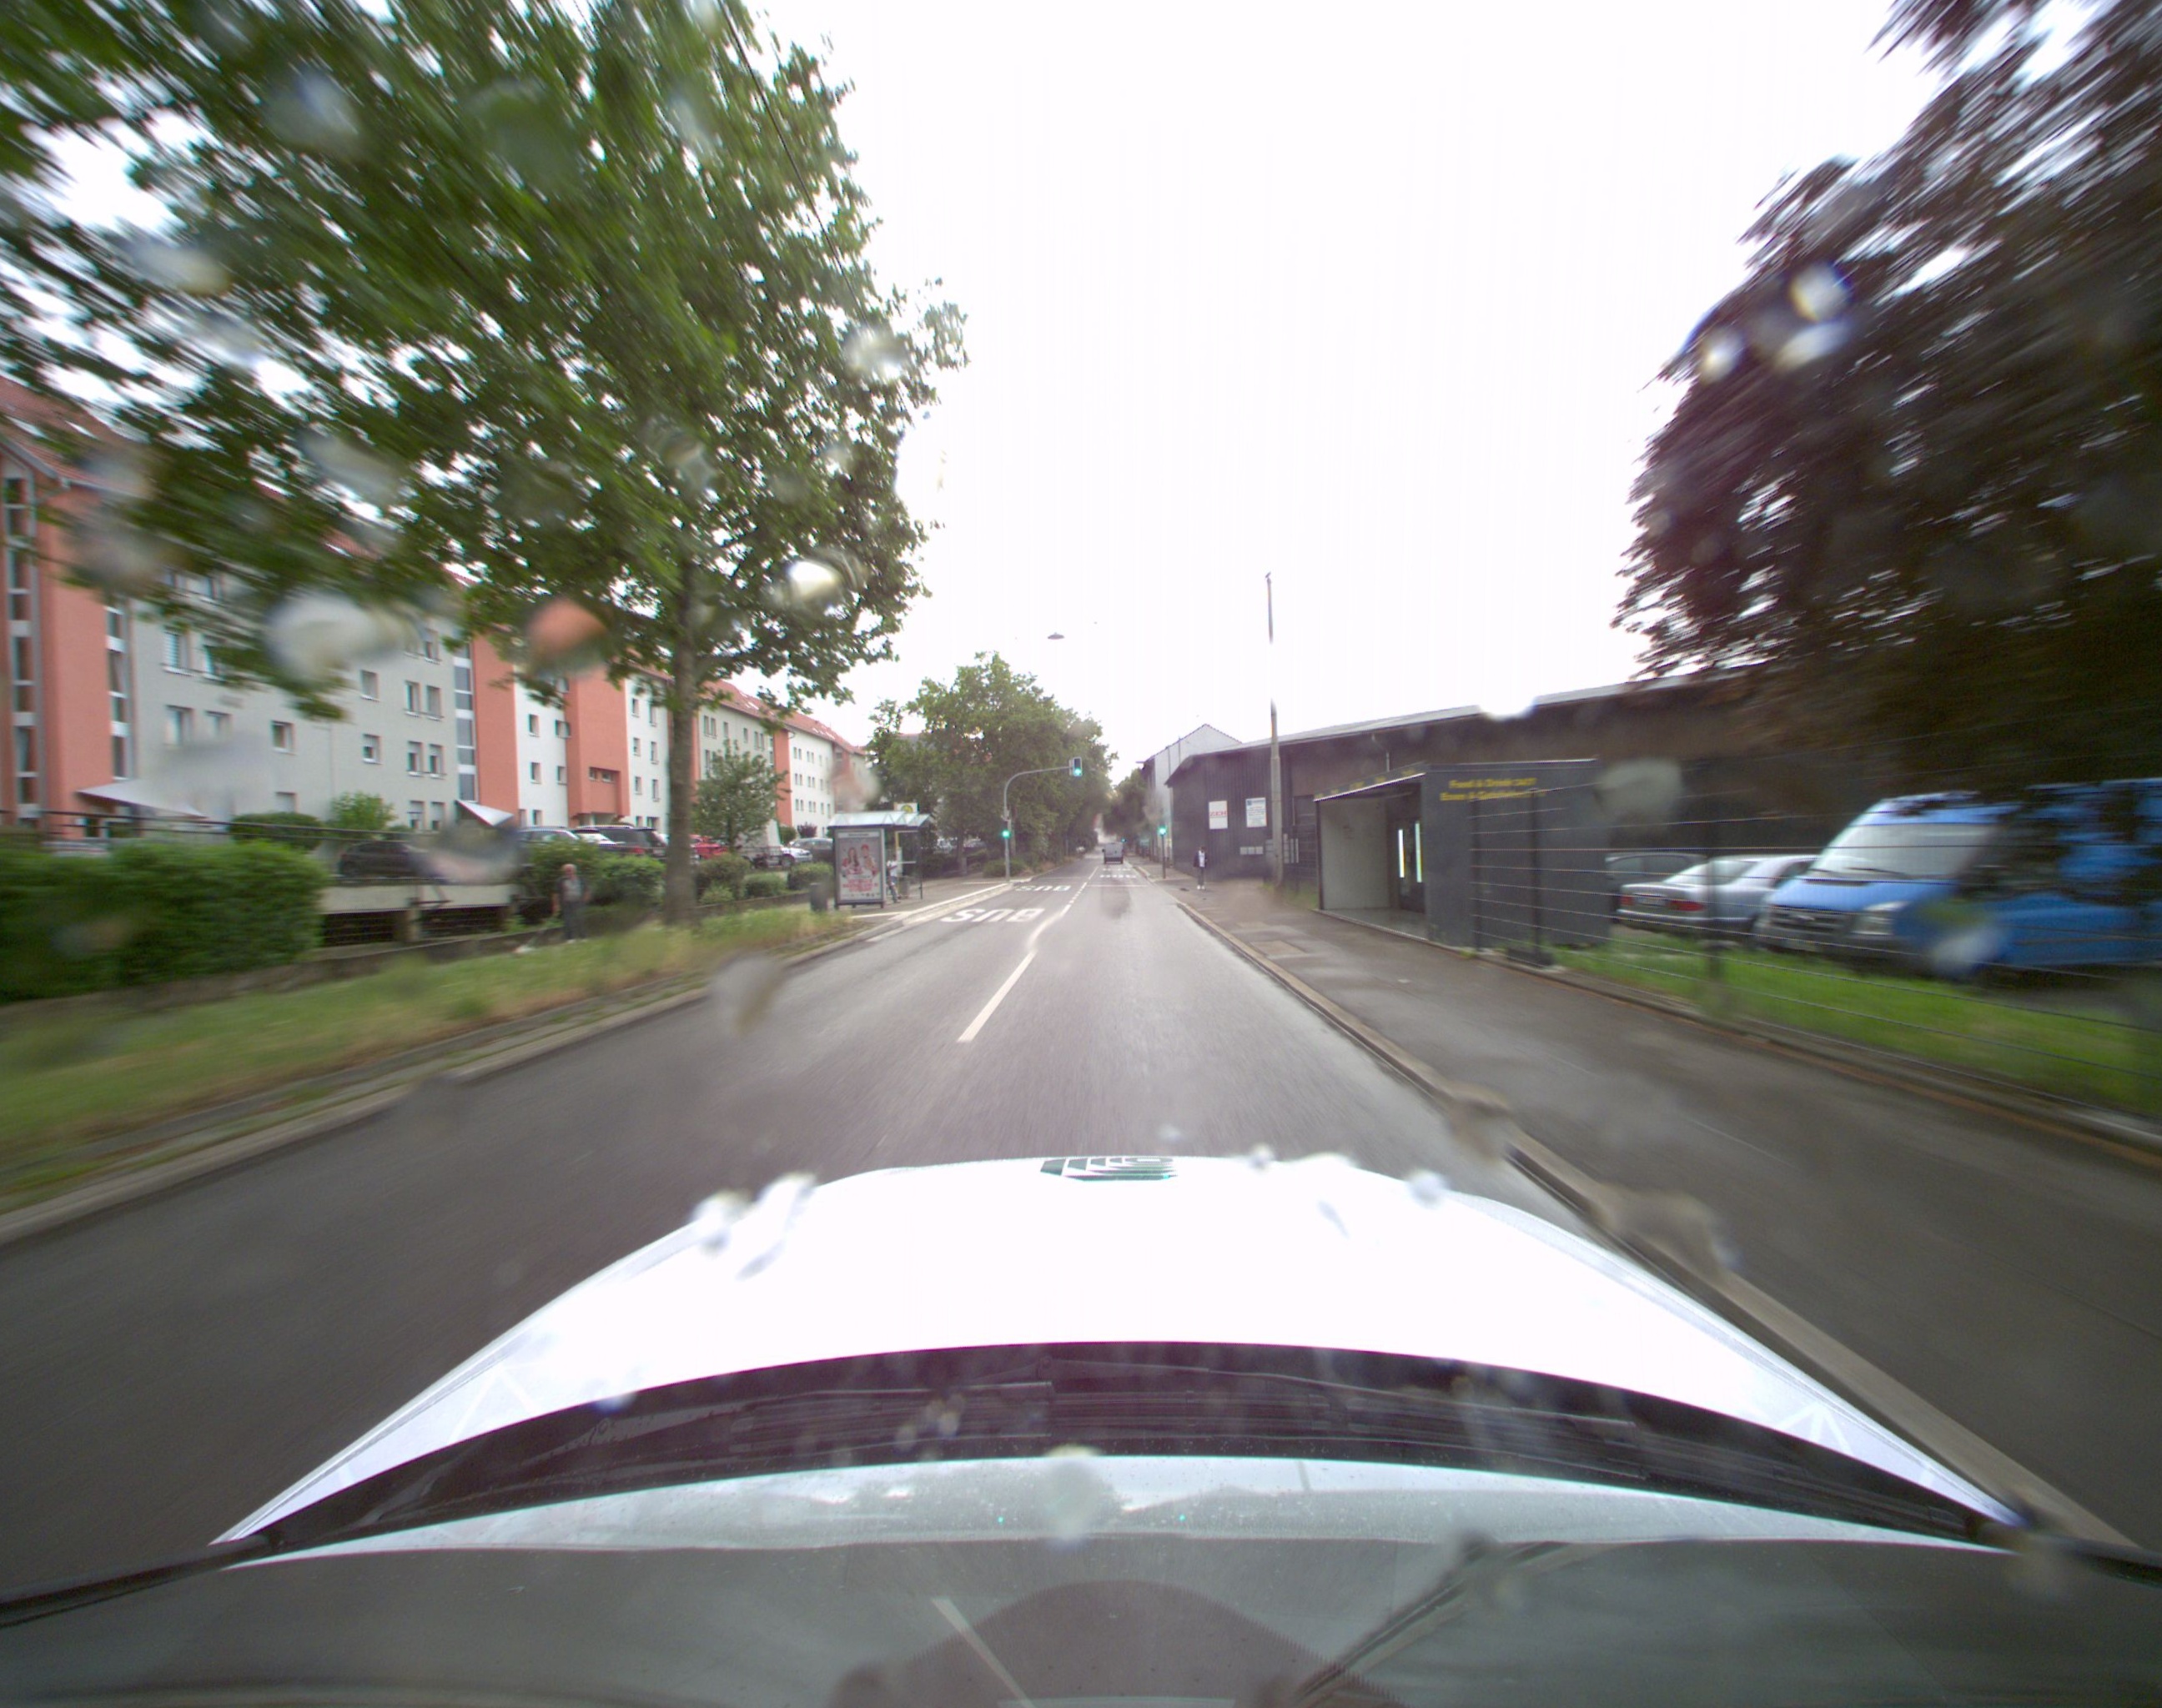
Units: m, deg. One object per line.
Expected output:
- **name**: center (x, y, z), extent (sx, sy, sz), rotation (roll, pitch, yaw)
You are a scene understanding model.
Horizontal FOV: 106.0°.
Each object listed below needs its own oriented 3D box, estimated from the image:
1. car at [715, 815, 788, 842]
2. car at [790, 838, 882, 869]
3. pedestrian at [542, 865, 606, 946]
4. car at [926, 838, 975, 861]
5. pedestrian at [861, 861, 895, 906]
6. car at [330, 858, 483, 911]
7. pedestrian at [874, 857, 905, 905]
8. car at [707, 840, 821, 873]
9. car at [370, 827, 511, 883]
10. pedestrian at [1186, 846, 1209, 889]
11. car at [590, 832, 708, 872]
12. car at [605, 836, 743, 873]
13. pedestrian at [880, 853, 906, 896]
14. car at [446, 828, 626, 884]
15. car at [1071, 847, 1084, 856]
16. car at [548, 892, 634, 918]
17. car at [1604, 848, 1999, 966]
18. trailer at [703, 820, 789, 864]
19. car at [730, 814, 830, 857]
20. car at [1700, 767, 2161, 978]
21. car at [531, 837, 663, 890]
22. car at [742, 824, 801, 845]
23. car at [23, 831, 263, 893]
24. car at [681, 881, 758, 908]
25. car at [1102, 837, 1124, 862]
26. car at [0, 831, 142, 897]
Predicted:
- **car**: center (-20.393, -1.572, 50.501), extent (3.797, 1.602, 1.718), rotation (0, -1, 0)
- **car**: center (-13.731, -0.029, 45.782), extent (4.529, 1.672, 2.000), rotation (0, -1, 1)
- **pedestrian**: center (-10.357, 1.029, 16.664), extent (0.753, 1.611, 0.834), rotation (0, -2, -3)
- **car**: center (-11.893, -0.419, 74.158), extent (4.155, 2.013, 1.718), rotation (-1, 0, -1)
- **pedestrian**: center (-6.154, 0.886, 24.735), extent (0.771, 1.317, 0.641), rotation (-4, -2, 5)
- **car**: center (-24.212, 1.065, 29.317), extent (3.873, 1.750, 2.002), rotation (-1, 0, 4)
- **pedestrian**: center (-5.987, 0.843, 25.474), extent (0.684, 1.418, 0.641), rotation (-4, -2, 5)
- **car**: center (-14.068, 0.114, 36.290), extent (4.339, 1.424, 1.860), rotation (0, -1, 1)
- **car**: center (-24.893, 0.040, 31.749), extent (3.969, 2.013, 2.002), rotation (-1, 0, 4)
- **pedestrian**: center (4.615, 0.539, 32.235), extent (0.741, 1.704, 0.900), rotation (0, -1, -4)
- **car**: center (-14.350, -0.046, 27.151), extent (3.118, 1.270, 1.437), rotation (0, -1, 1)
- **car**: center (-14.704, 0.036, 29.578), extent (4.073, 1.303, 1.810), rotation (0, -1, 1)
- **pedestrian**: center (-7.408, 0.813, 32.144), extent (0.737, 1.598, 0.607), rotation (-5, -2, 5)
- **car**: center (-14.938, 0.070, 22.491), extent (3.643, 1.498, 1.896), rotation (0, -1, -2)
- **car**: center (-0.622, -0.524, 154.155), extent (2.205, 1.592, 4.614), rotation (0, -1, 4)
- **car**: center (-23.027, 2.410, 38.342), extent (3.186, 1.082, 1.378), rotation (-1, 0, 1)
- **car**: center (10.655, 0.749, 12.294), extent (4.365, 1.531, 1.793), rotation (-1, -1, 0)
- **trailer**: center (-13.062, -0.454, 31.836), extent (2.693, 1.645, 1.481), rotation (0, -1, 2)
- **car**: center (-12.614, -0.768, 34.267), extent (3.496, 1.697, 1.706), rotation (-1, 0, 1)
- **car**: center (10.884, 0.183, 9.672), extent (5.549, 2.210, 2.000), rotation (-1, 0, 0)
- **car**: center (-14.570, 0.292, 24.611), extent (3.118, 1.543, 1.437), rotation (0, -1, 1)
- **car**: center (-21.846, -1.384, 57.558), extent (3.586, 1.394, 1.543), rotation (0, -1, 0)
- **car**: center (-24.044, 0.224, 20.985), extent (3.969, 1.530, 2.002), rotation (0, -1, 4)
- **car**: center (-21.561, 2.410, 48.714), extent (3.798, 1.511, 1.718), rotation (-1, -1, 0)
- **car**: center (3.461, -0.451, 87.151), extent (2.274, 2.553, 4.002), rotation (-1, -1, 2)
- **car**: center (-24.213, 0.230, 18.365), extent (3.969, 1.397, 1.907), rotation (0, -1, 4)
